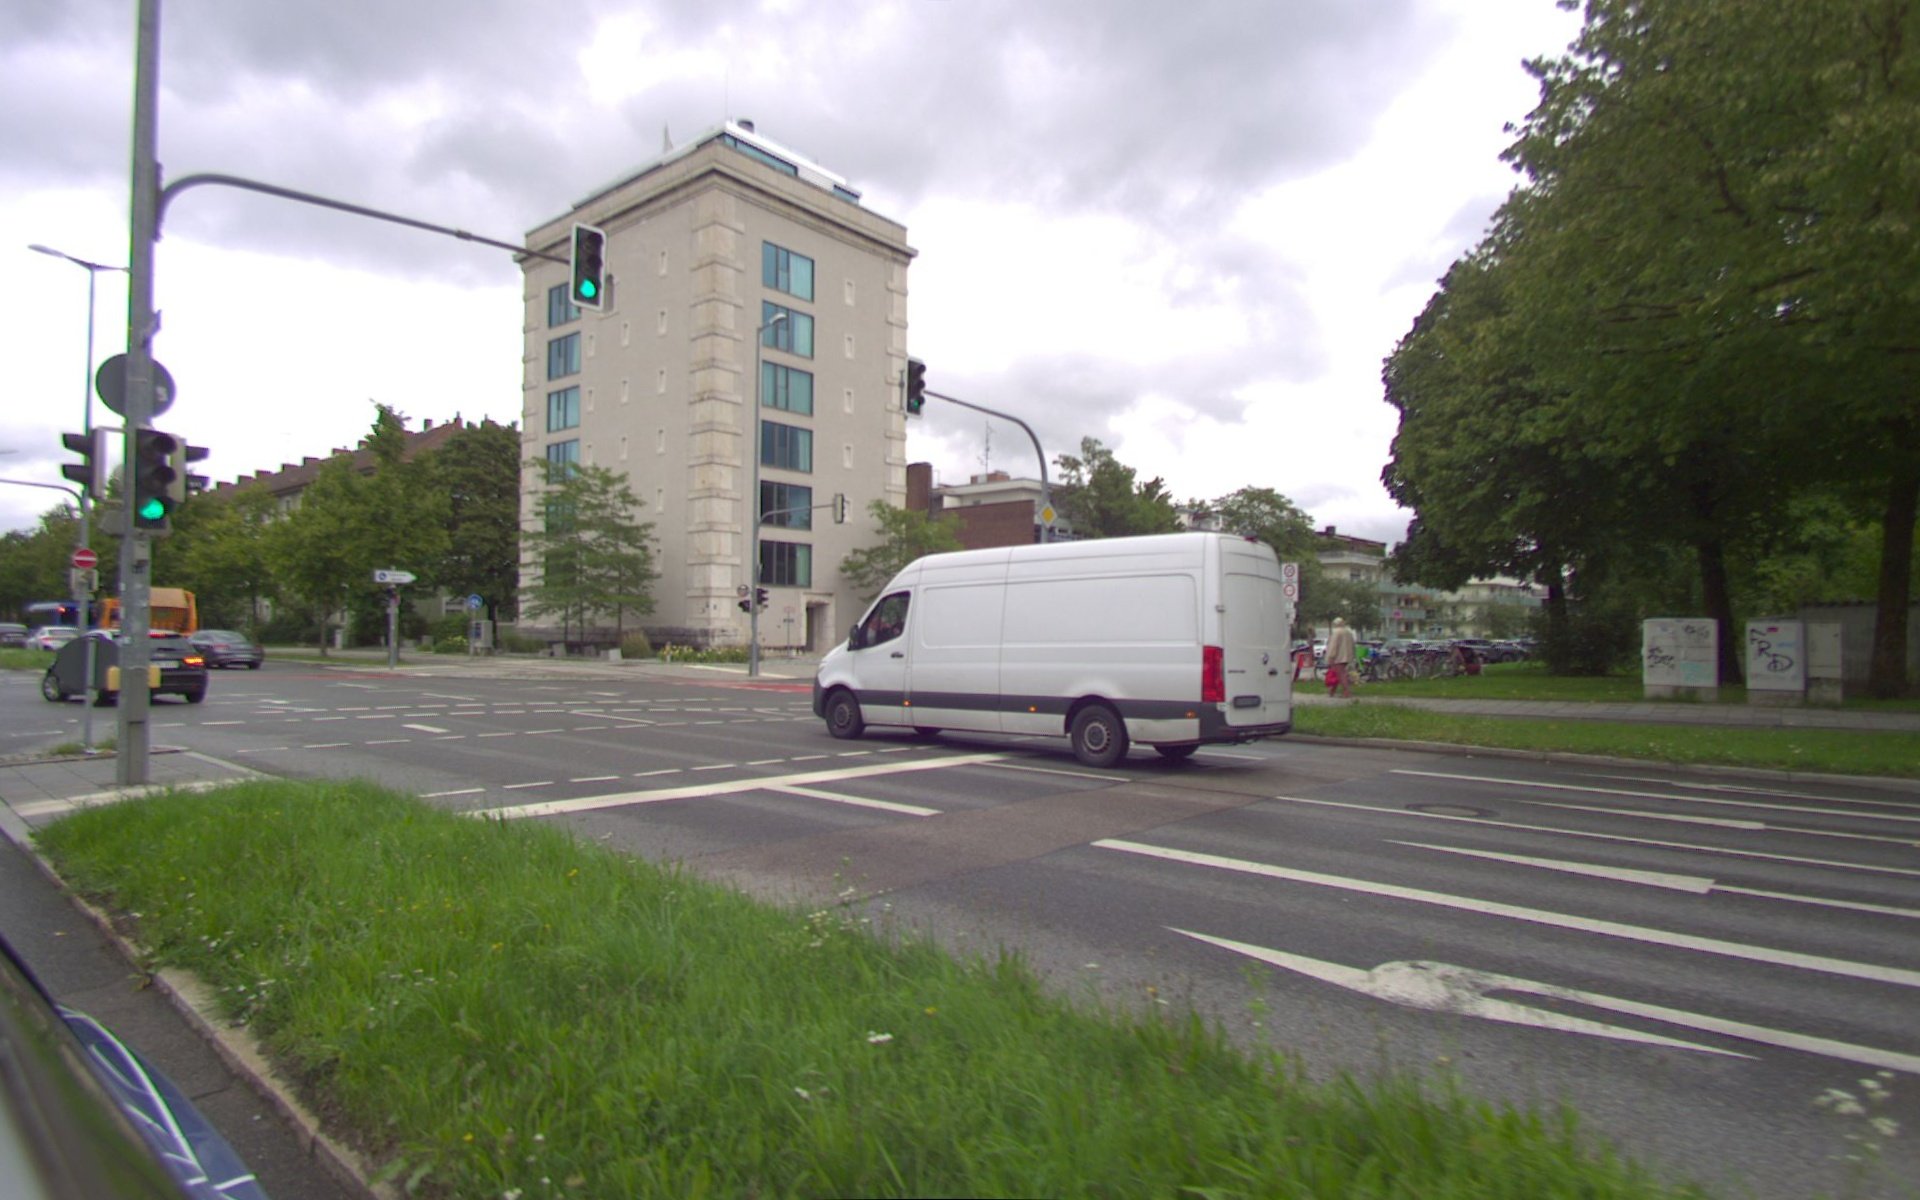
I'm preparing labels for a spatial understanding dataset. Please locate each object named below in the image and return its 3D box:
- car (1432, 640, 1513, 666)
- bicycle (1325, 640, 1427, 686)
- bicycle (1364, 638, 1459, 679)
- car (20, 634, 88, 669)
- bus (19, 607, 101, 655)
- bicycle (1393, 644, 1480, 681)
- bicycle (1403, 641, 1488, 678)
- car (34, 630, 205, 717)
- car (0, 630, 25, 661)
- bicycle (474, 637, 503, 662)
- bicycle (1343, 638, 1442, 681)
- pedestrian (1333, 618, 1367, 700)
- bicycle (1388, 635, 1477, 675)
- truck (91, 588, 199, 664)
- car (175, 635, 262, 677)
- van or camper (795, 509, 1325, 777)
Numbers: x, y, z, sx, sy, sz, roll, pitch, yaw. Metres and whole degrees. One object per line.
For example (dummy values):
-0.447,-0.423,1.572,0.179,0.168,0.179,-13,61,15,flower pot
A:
30.226,3.110,59.830,4.192,1.427,1.910,-1,-2,26,car
11.563,1.730,28.190,2.494,1.195,0.827,-2,-2,40,bicycle
13.628,1.751,30.605,2.494,1.195,0.827,-2,-2,40,bicycle
-41.222,2.299,46.015,4.739,1.498,1.709,-1,-2,41,car
-68.092,2.344,76.465,12.038,3.369,2.717,-1,-4,40,bus
15.948,2.071,33.928,2.494,1.195,0.827,-2,-2,40,bicycle
16.636,2.020,34.685,2.494,1.195,0.827,-2,-2,40,bicycle
-16.143,1.332,19.392,3.773,1.498,1.625,-1,-2,36,car
-51.836,2.399,54.299,4.747,1.553,1.842,-2,-6,41,car
-22.785,2.383,48.905,1.825,1.190,0.539,-2,-2,40,bicycle
12.430,1.691,29.154,2.494,1.195,0.827,-2,-2,40,bicycle
8.551,1.287,22.208,0.516,1.753,0.701,-1,-2,36,pedestrian
15.333,1.776,32.893,2.494,1.195,0.827,0,-4,40,bicycle
-39.026,1.268,48.376,7.262,3.382,2.752,-1,-2,41,truck
-27.357,2.047,37.310,4.214,1.427,1.705,-2,-4,42,car
0.928,0.555,13.206,6.948,2.667,2.155,-2,-4,42,van or camper
